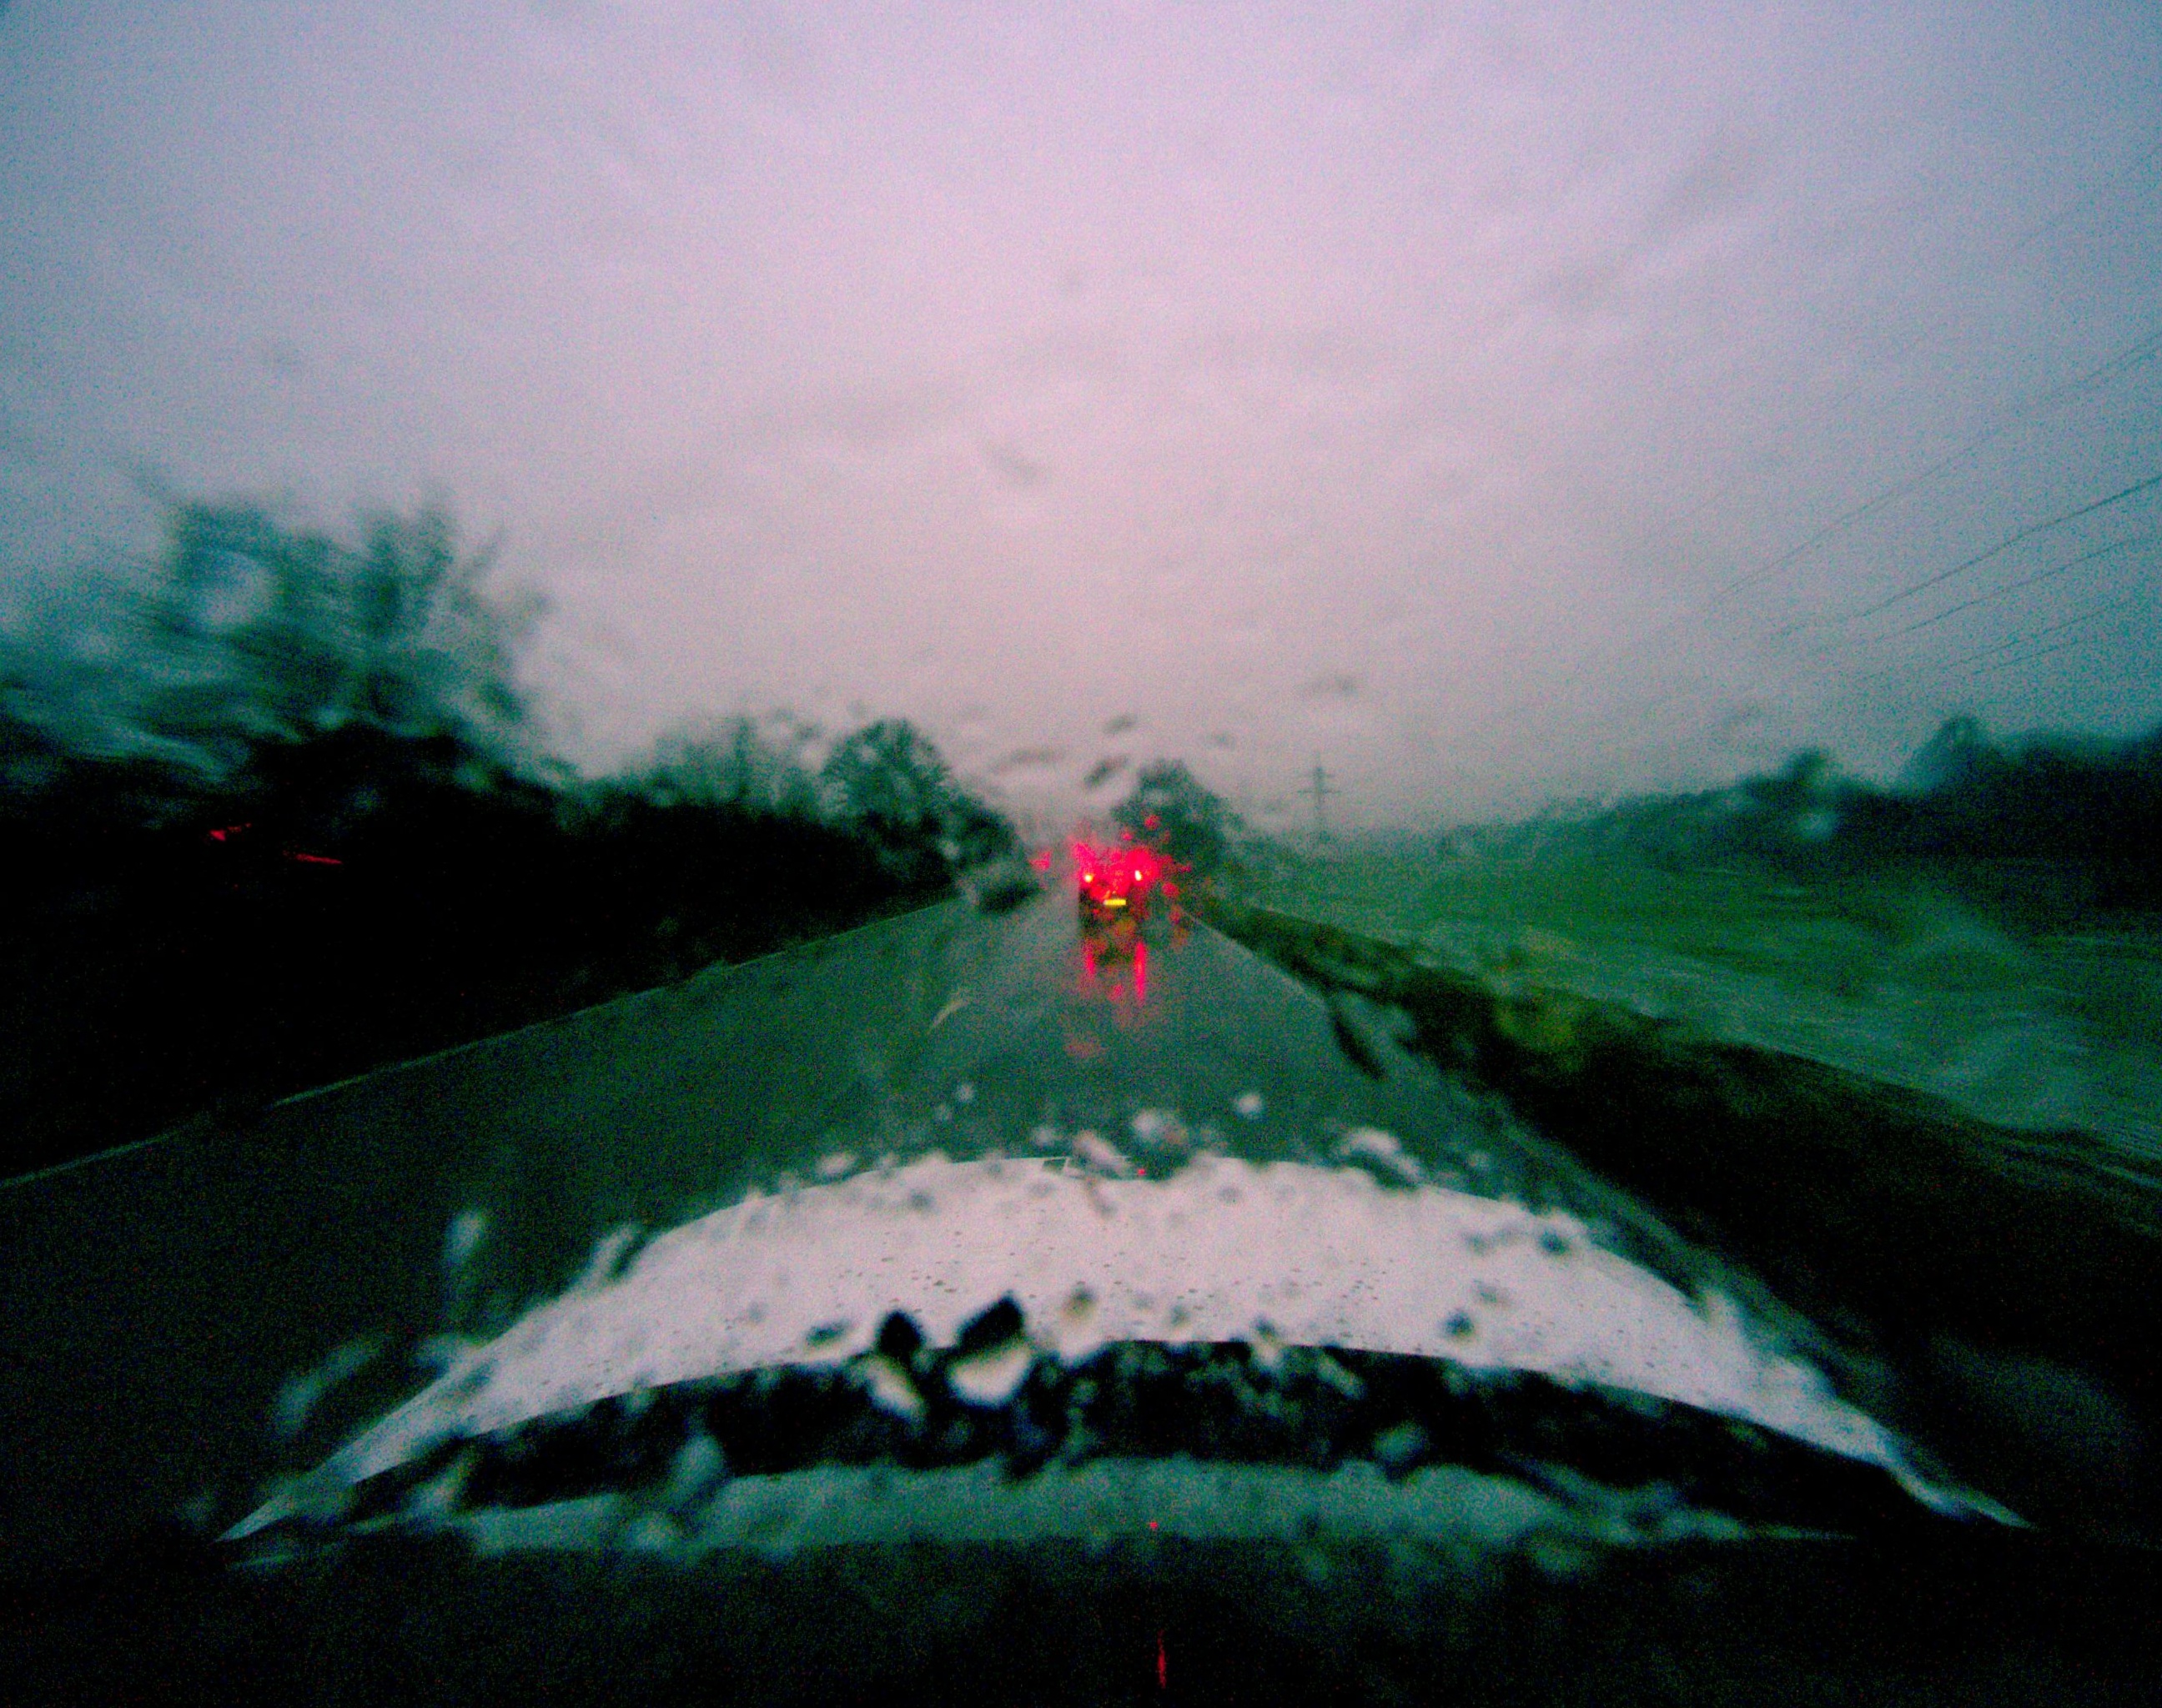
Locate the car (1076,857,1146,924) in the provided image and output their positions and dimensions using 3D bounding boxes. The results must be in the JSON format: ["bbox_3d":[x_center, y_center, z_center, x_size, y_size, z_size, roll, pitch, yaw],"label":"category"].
[{"bbox_3d":[0.792,0.858,20.610,1.596,1.522,3.872,-1,-1,3],"label":"car"}]

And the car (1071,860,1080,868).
[{"bbox_3d":[-0.944,1.777,143.525,1.541,1.397,3.870,-1,-1,1],"label":"car"}]

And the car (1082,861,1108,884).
[{"bbox_3d":[0.862,1.151,51.093,1.542,1.397,3.869,0,-1,0],"label":"car"}]

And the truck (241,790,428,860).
[{"bbox_3d":[-29.047,-1.025,32.040,1.986,2.493,5.659,-1,-1,2],"label":"truck"}]
